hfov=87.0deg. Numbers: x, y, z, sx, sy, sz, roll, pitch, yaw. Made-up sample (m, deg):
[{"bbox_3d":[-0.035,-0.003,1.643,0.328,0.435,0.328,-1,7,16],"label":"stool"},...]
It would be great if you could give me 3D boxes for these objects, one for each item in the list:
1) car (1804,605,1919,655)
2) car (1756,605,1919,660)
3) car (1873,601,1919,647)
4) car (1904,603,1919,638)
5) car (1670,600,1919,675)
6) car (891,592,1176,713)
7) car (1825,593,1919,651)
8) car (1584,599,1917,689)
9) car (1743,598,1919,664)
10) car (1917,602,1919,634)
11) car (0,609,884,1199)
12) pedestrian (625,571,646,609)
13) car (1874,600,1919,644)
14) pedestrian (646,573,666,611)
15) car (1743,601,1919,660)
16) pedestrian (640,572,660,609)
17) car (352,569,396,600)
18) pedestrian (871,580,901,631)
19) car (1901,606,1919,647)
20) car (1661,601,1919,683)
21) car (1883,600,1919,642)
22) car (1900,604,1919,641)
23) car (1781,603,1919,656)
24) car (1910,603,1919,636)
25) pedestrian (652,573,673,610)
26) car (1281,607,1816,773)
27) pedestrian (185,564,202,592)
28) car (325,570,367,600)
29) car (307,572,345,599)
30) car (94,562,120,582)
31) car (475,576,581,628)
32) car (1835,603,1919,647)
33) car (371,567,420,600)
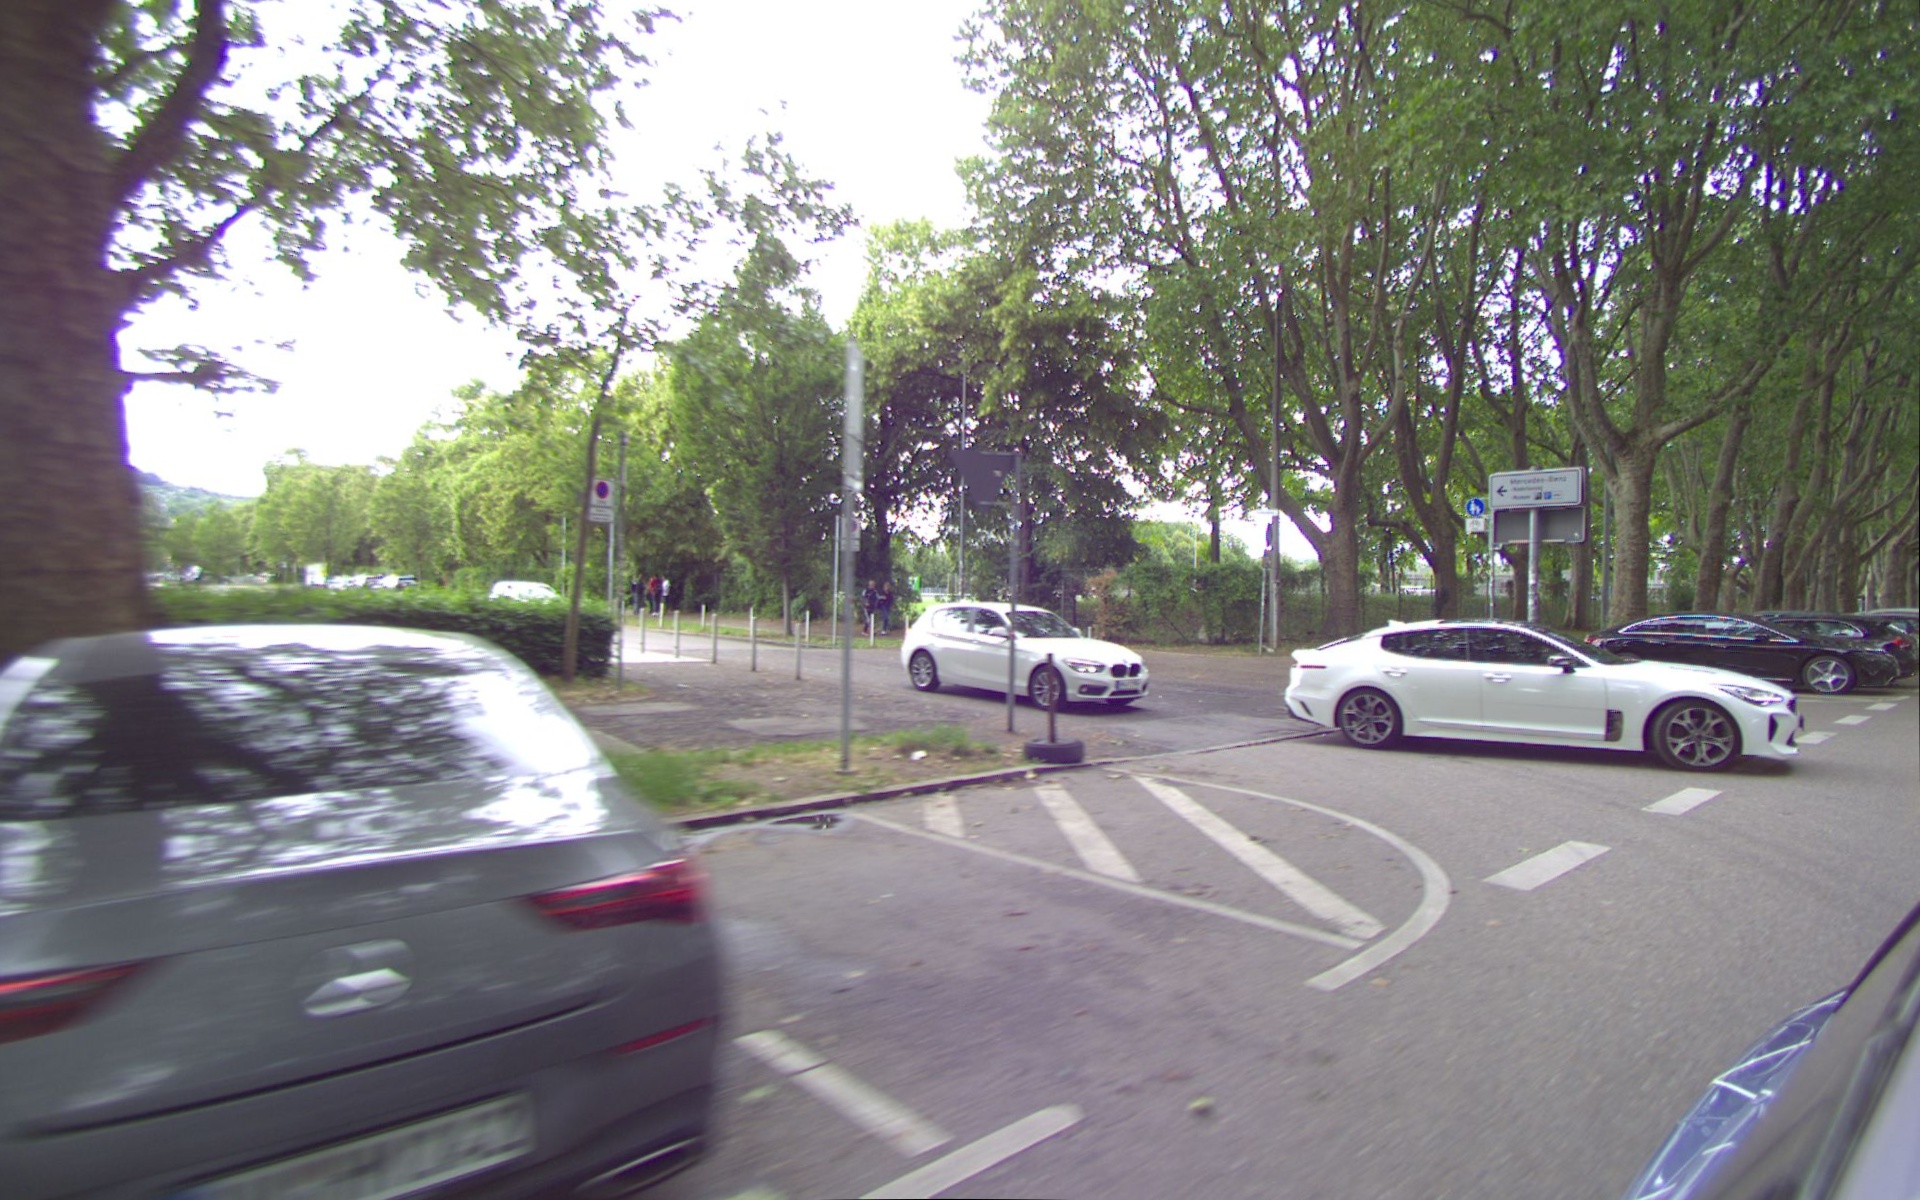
[{"bbox_3d":[30.357,0.942,32.452,1.962,1.543,4.677,0,-2,-36],"label":"car"},{"bbox_3d":[26.637,0.931,29.753,1.962,1.543,4.678,0,-2,-35],"label":"car"},{"bbox_3d":[38.125,0.910,38.917,1.962,1.773,4.118,0,-2,-36],"label":"car"},{"bbox_3d":[50.767,1.002,50.785,1.962,1.773,4.677,0,-2,-36],"label":"car"},{"bbox_3d":[18.978,0.813,22.707,1.966,1.543,4.668,0,-2,-43],"label":"car"},{"bbox_3d":[0.980,0.672,15.358,1.754,1.480,4.282,1,1,-43],"label":"car"},{"bbox_3d":[32.374,0.730,34.012,1.962,1.927,4.677,0,-2,-36],"label":"car"},{"bbox_3d":[15.186,0.811,19.673,1.966,1.525,4.824,0,-2,-43],"label":"car"},{"bbox_3d":[23.136,0.767,26.238,1.788,1.544,4.106,1,0,-32],"label":"car"},{"bbox_3d":[55.600,0.954,55.172,1.962,1.773,4.677,0,-2,-36],"label":"car"},{"bbox_3d":[-2.233,0.764,3.578,1.687,1.435,4.599,1,-1,-37],"label":"car"},{"bbox_3d":[-14.261,-0.451,44.498,0.711,1.664,0.698,0,0,-35],"label":"pedestrian"},{"bbox_3d":[40.043,0.847,40.607,1.962,1.773,4.677,0,-2,-36],"label":"car"},{"bbox_3d":[-13.300,-0.344,44.282,0.685,1.664,0.725,0,0,-35],"label":"pedestrian"},{"bbox_3d":[25.131,0.820,28.381,1.868,1.542,4.678,1,-1,-35],"label":"car"},{"bbox_3d":[-14.136,-0.440,46.167,0.686,1.664,0.724,0,0,5],"label":"pedestrian"},{"bbox_3d":[-39.446,-1.036,68.106,1.965,2.039,3.995,0,0,-40],"label":"car"},{"bbox_3d":[-2.350,0.165,32.044,0.685,1.587,0.725,0,0,-35],"label":"pedestrian"},{"bbox_3d":[43.719,1.118,43.354,1.962,1.773,4.677,0,-2,-36],"label":"car"},{"bbox_3d":[17.396,0.798,21.012,1.966,1.496,4.376,0,0,-43],"label":"car"},{"bbox_3d":[41.698,0.852,41.983,1.962,1.773,4.677,0,-2,-36],"label":"car"},{"bbox_3d":[48.410,1.065,48.467,1.962,1.773,4.677,0,-2,-36],"label":"car"},{"bbox_3d":[28.472,0.896,31.080,1.962,1.543,4.677,0,-2,-36],"label":"car"},{"bbox_3d":[53.549,0.986,53.413,1.962,1.773,4.677,0,-2,-36],"label":"car"},{"bbox_3d":[-13.336,-0.389,45.332,0.711,1.664,0.698,0,0,-35],"label":"pedestrian"},{"bbox_3d":[6.094,0.803,10.901,4.654,1.401,1.972,-1,-1,39],"label":"car"},{"bbox_3d":[-45.270,-1.289,59.805,0.722,1.664,0.688,0,0,42],"label":"pedestrian"},{"bbox_3d":[-44.068,-1.060,72.594,1.965,2.039,3.995,0,0,-40],"label":"car"},{"bbox_3d":[-48.323,-1.086,77.120,1.965,2.039,3.995,0,0,-40],"label":"car"},{"bbox_3d":[-88.916,-2.876,105.523,1.964,2.039,3.996,0,0,-38],"label":"car"},{"bbox_3d":[-13.689,0.034,31.934,1.754,1.480,4.282,1,1,-43],"label":"car"},{"bbox_3d":[35.759,0.912,37.513,1.962,1.632,4.677,0,-2,-36],"label":"car"},{"bbox_3d":[-35.574,-1.010,63.749,1.965,2.039,3.995,0,0,-40],"label":"car"}]
